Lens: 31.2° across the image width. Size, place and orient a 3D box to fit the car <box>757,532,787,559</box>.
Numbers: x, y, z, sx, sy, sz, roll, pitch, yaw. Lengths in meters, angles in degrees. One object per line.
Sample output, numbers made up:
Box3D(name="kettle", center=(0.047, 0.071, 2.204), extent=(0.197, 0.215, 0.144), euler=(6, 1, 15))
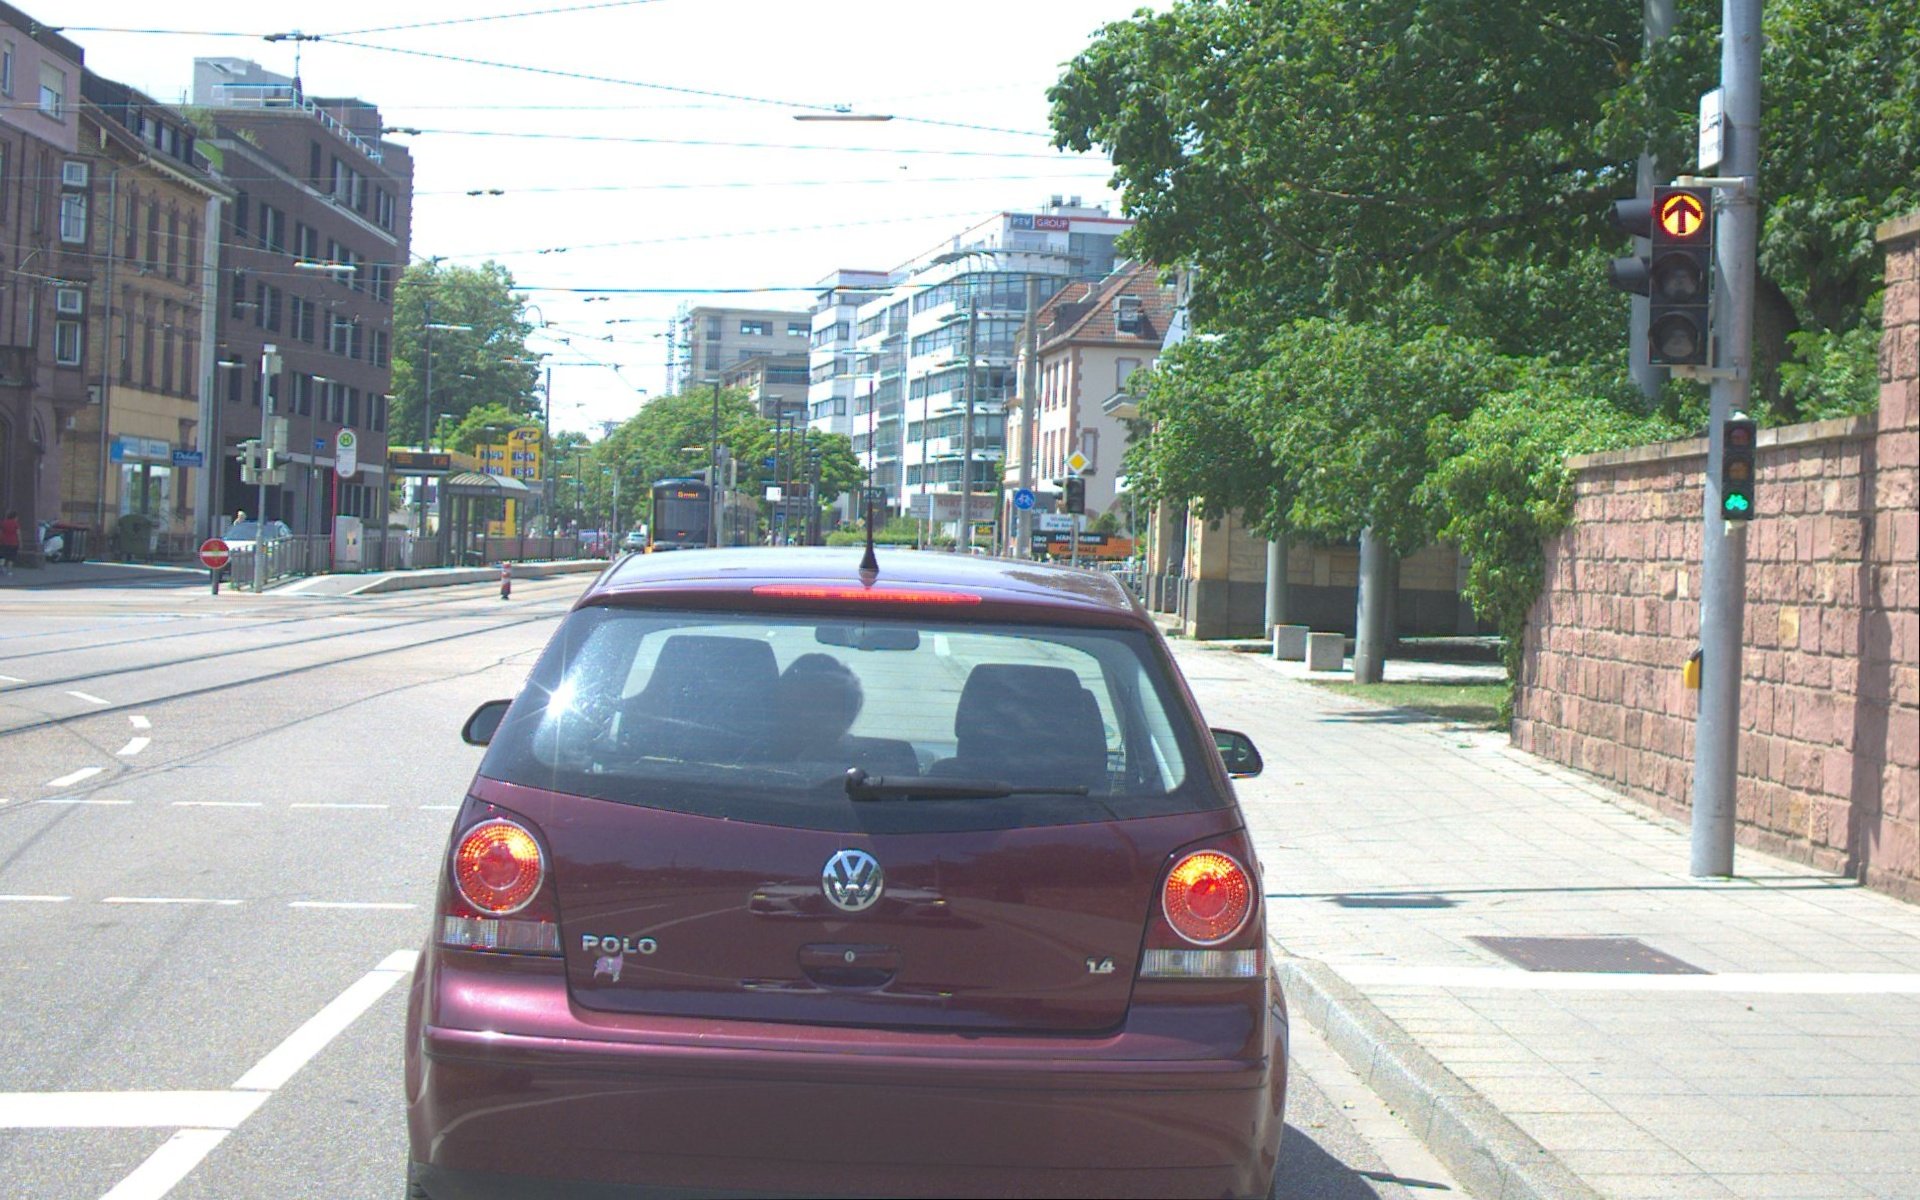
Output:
Box3D(name="car", center=(-11.605, -3.372, 212.021), extent=(1.780, 1.603, 4.152), euler=(1, 1, -2))

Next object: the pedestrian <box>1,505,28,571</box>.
Box3D(name="pedestrian", center=(-22.166, -1.443, 80.613), extent=(0.483, 1.535, 0.538), euler=(1, 0, -4))

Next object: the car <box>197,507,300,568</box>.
Box3D(name="car", center=(-18.048, -1.588, 87.361), extent=(1.689, 1.457, 4.000), euler=(2, 1, 1))

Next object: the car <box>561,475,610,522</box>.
Box3D(name="car", center=(-16.758, -4.543, 153.871), extent=(1.735, 2.007, 4.000), euler=(2, 1, -1))

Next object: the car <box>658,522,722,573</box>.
Box3D(name="car", center=(-9.149, -1.762, 116.611), extent=(1.938, 1.635, 4.000), euler=(1, 0, -1))

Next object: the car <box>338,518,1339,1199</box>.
Box3D(name="car", center=(-0.270, 0.587, 7.722), extent=(1.610, 1.458, 4.086), euler=(2, 1, -2))
